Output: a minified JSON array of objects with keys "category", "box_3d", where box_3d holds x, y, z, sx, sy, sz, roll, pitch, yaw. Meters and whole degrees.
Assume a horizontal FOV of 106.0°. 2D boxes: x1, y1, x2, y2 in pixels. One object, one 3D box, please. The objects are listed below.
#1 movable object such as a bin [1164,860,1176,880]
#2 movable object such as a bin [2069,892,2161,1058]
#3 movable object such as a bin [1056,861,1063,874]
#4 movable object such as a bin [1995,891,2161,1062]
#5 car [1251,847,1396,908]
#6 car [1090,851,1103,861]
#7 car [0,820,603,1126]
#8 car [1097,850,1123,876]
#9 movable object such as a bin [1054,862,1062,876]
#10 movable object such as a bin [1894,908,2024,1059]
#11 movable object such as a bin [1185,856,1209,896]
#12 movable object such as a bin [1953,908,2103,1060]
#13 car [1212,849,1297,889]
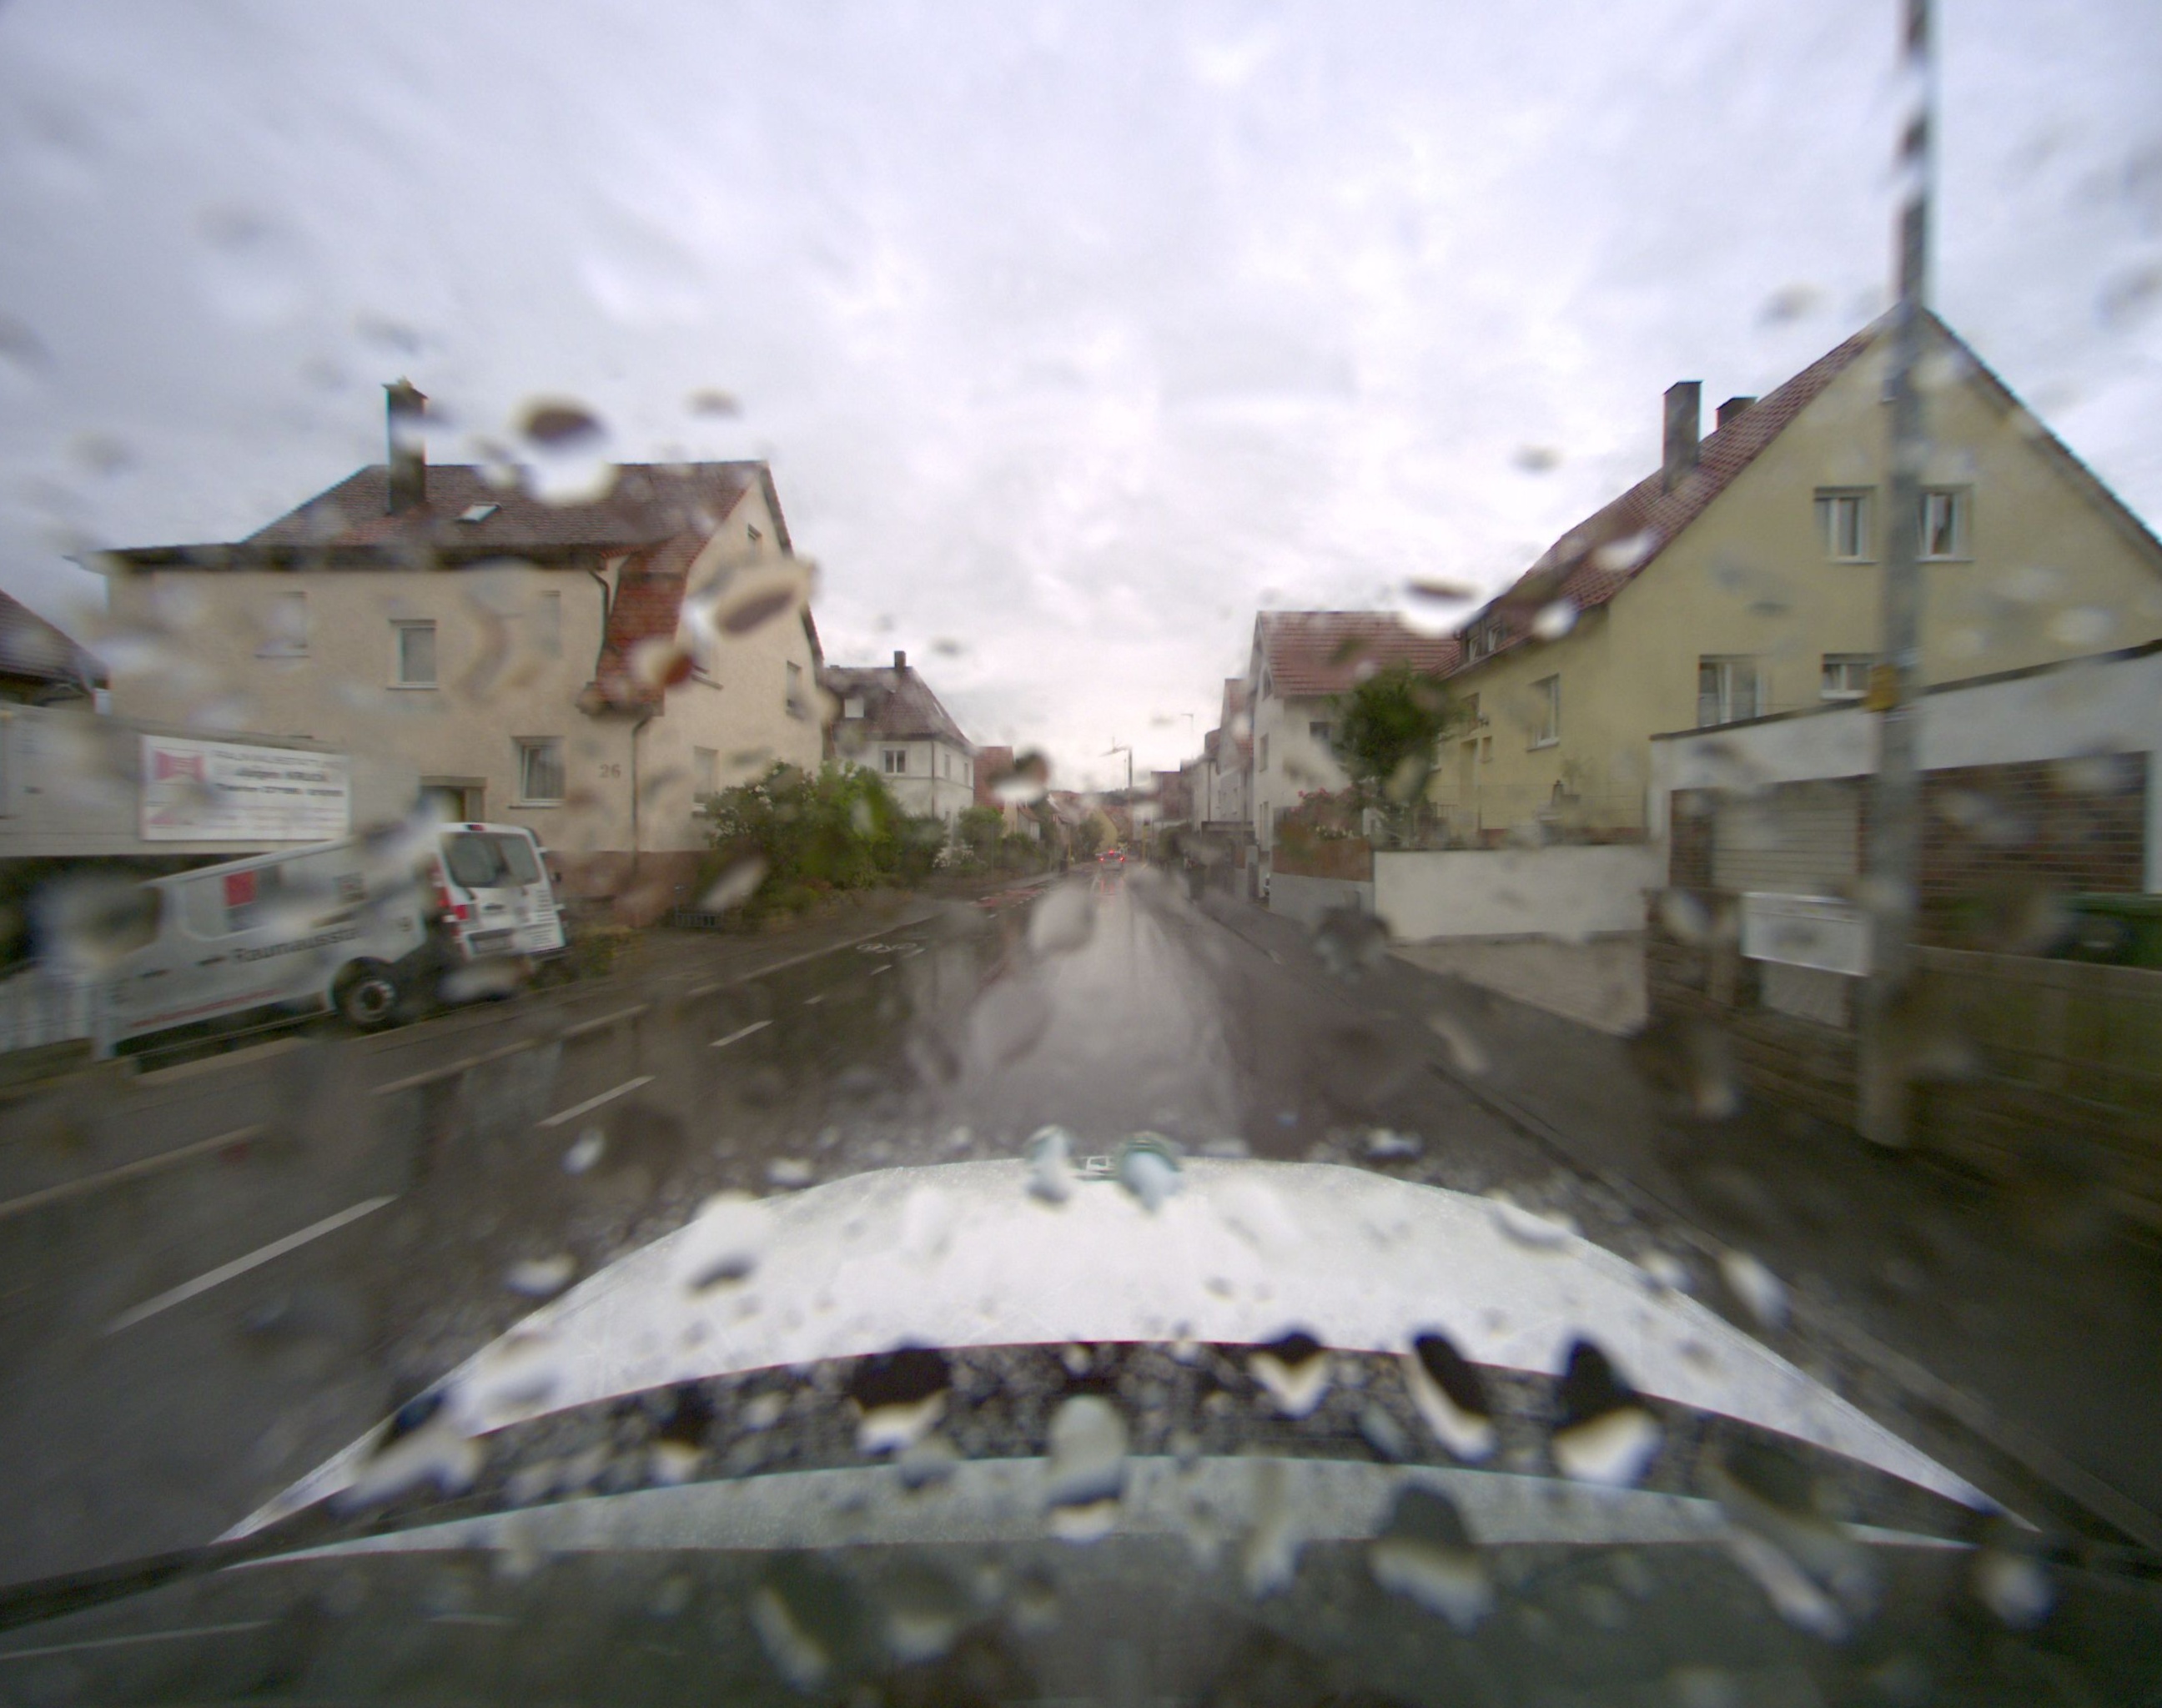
[{"category":"movable object such as a bin","box_3d":[5.986,1.085,54.705,0.781,1.277,0.715,1,2,6]},{"category":"movable object such as a bin","box_3d":[7.624,0.836,5.679,0.647,1.073,0.629,1,2,2]},{"category":"movable object such as a bin","box_3d":[-2.038,1.301,77.255,0.681,1.223,0.639,1,2,-3]},{"category":"movable object such as a bin","box_3d":[7.029,0.828,5.707,0.495,1.073,0.629,1,2,2]},{"category":"car","box_3d":[6.567,0.611,22.300,3.481,1.522,1.740,-1,1,1]},{"category":"car","box_3d":[2.884,0.327,151.368,1.832,1.578,4.299,1,3,7]},{"category":"car","box_3d":[-8.243,1.099,8.794,4.539,2.012,2.161,-12,2,1]},{"category":"car","box_3d":[2.509,0.715,68.893,2.108,1.887,4.507,1,3,3]},{"category":"movable object such as a bin","box_3d":[-2.155,1.422,76.451,0.681,1.322,0.639,1,2,-3]},{"category":"movable object such as a bin","box_3d":[6.088,0.886,5.667,0.403,0.961,0.419,1,2,2]},{"category":"movable object such as a bin","box_3d":[3.916,0.744,27.581,0.742,1.279,0.883,-1,2,3]},{"category":"movable object such as a bin","box_3d":[6.541,0.881,5.645,0.470,0.961,0.443,1,2,2]},{"category":"car","box_3d":[7.501,0.623,35.357,3.361,1.562,1.516,1,2,1]}]
